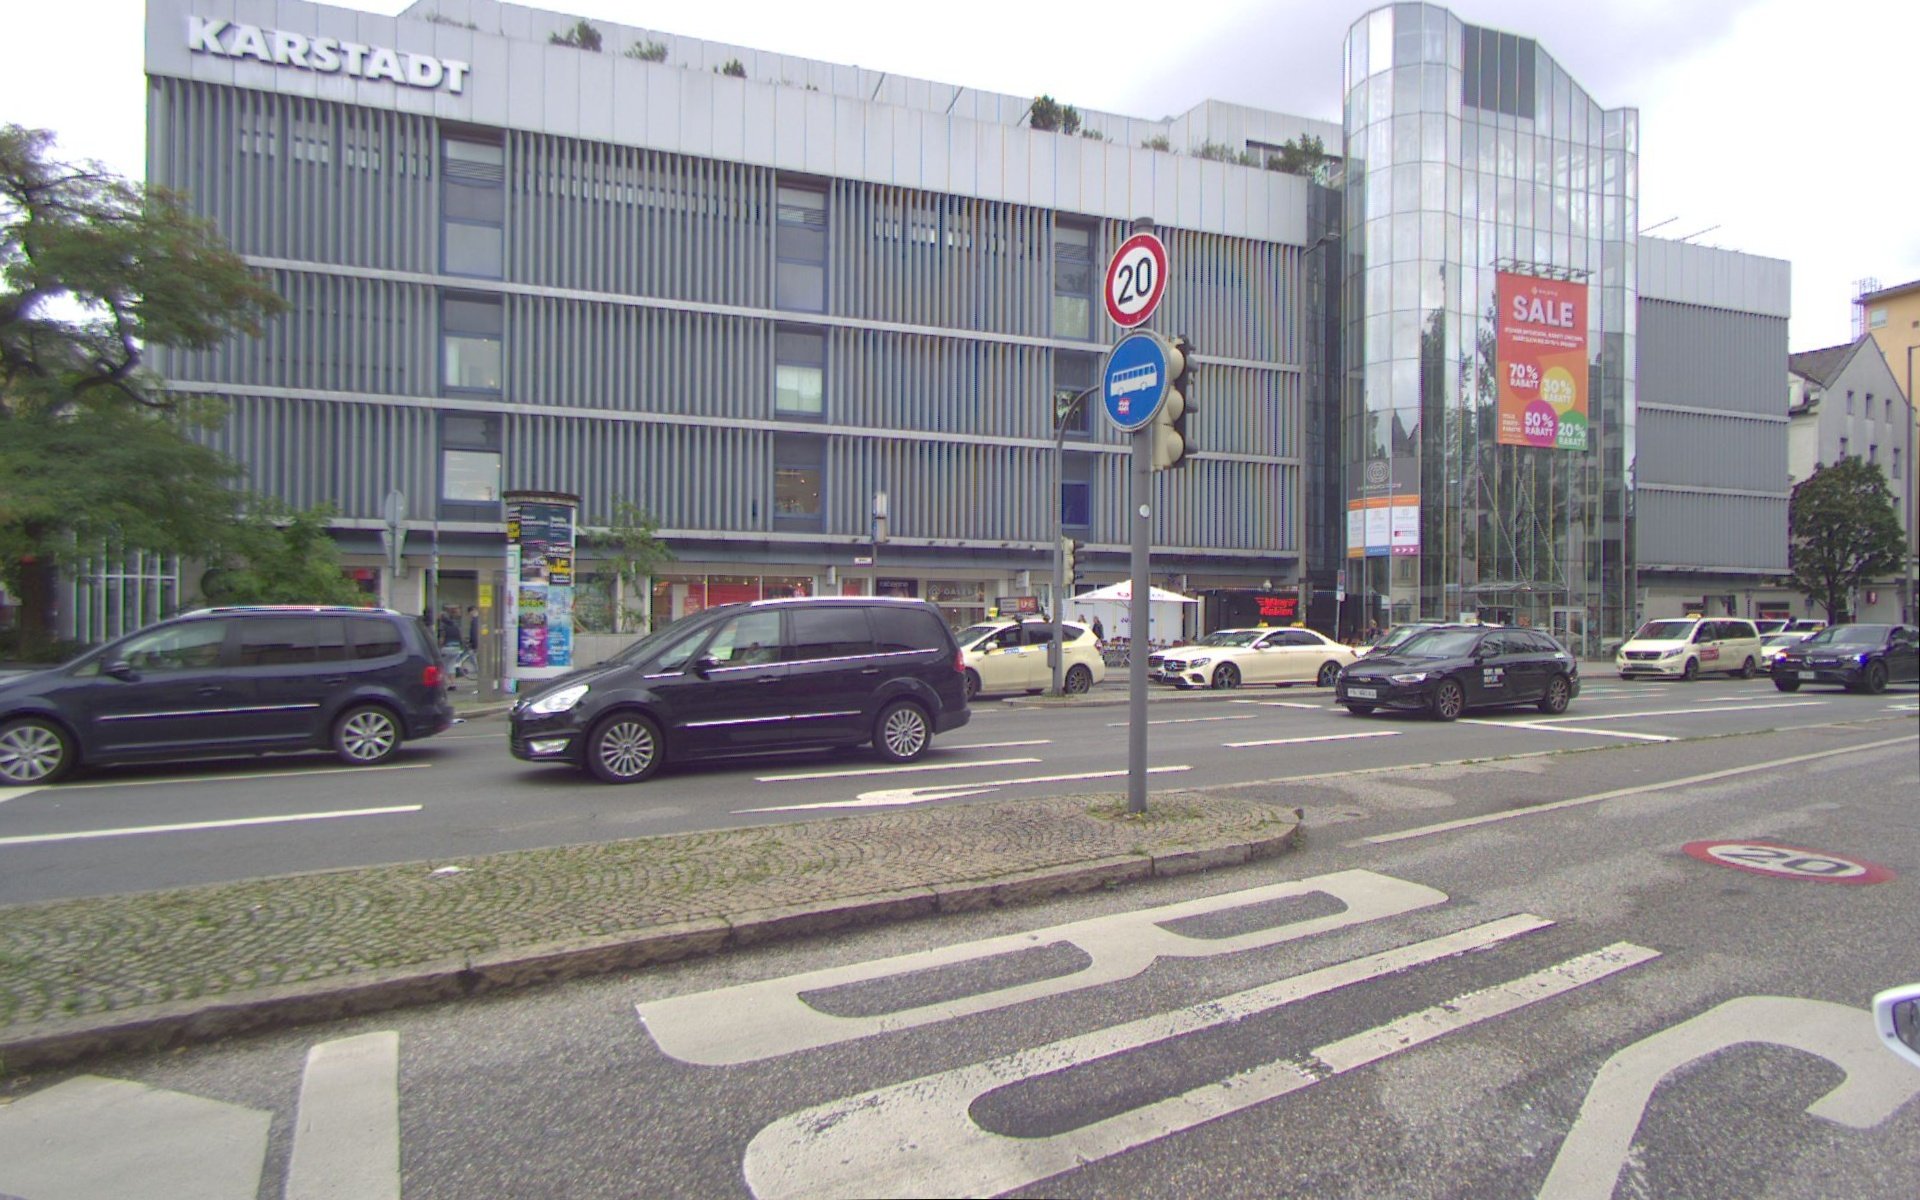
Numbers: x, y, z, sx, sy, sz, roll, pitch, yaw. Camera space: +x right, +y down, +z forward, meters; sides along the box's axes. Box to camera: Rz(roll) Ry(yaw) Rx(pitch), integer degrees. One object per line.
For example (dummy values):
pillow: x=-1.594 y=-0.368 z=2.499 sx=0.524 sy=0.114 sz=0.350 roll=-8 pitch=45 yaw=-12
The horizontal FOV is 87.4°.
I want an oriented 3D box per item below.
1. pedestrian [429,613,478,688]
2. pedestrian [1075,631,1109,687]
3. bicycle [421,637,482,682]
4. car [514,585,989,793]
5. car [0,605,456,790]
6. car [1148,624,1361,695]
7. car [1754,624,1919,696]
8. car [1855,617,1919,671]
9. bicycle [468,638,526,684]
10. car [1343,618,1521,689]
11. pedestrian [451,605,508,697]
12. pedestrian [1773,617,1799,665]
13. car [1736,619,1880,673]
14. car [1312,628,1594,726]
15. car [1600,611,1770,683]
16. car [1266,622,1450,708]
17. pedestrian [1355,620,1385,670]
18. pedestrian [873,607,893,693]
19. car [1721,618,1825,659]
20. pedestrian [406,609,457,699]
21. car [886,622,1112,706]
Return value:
pedestrian: x=-10.923 y=1.082 z=21.656 sx=0.762 sy=1.575 sz=0.747 roll=-1 pitch=-1 yaw=44
pedestrian: x=3.290 y=1.463 z=25.098 sx=0.654 sy=1.371 sz=0.545 roll=1 pitch=-1 yaw=-25
bicycle: x=-13.954 y=1.594 z=27.656 sx=0.774 sy=1.114 sz=3.431 roll=0 pitch=-1 yaw=-14
car: x=-2.116 y=0.820 z=10.538 sx=4.534 sy=1.761 sz=1.928 roll=1 pitch=-2 yaw=-30
car: x=-7.648 y=0.900 z=10.461 sx=4.207 sy=1.635 sz=1.830 roll=1 pitch=-1 yaw=-30
car: x=6.892 y=1.338 z=23.565 sx=4.566 sy=1.528 sz=1.990 roll=1 pitch=-1 yaw=-22
car: x=21.023 y=1.340 z=23.487 sx=4.523 sy=1.554 sz=1.989 roll=1 pitch=-1 yaw=-24
car: x=34.762 y=1.547 z=36.044 sx=4.462 sy=1.840 sz=1.992 roll=0 pitch=-2 yaw=-19
bicycle: x=-12.690 y=1.637 z=27.632 sx=0.791 sy=1.114 sz=3.672 roll=0 pitch=-1 yaw=-14
car: x=12.198 y=1.337 z=25.985 sx=4.124 sy=1.701 sz=1.989 roll=1 pitch=-1 yaw=-24
pedestrian: x=-9.702 y=1.014 z=20.289 sx=0.739 sy=1.796 sz=0.770 roll=-1 pitch=-1 yaw=36
pedestrian: x=32.045 y=1.585 z=38.976 sx=0.618 sy=1.842 sz=0.557 roll=0 pitch=-1 yaw=-19
car: x=28.900 y=1.540 z=34.230 sx=4.469 sy=1.677 sz=1.989 roll=1 pitch=0 yaw=-24
car: x=8.124 y=1.171 z=16.494 sx=4.542 sy=1.401 sz=1.838 roll=1 pitch=-1 yaw=-28
car: x=22.319 y=1.399 z=30.880 sx=5.451 sy=2.040 sz=1.987 roll=1 pitch=-1 yaw=-27
car: x=7.932 y=1.234 z=20.007 sx=3.340 sy=1.572 sz=1.619 roll=1 pitch=-1 yaw=-27
pedestrian: x=14.348 y=1.574 z=35.154 sx=0.700 sy=1.714 sz=0.651 roll=0 pitch=-1 yaw=-18
pedestrian: x=-1.609 y=1.040 z=21.126 sx=0.348 sy=1.783 sz=0.447 roll=0 pitch=-1 yaw=5
car: x=36.868 y=1.730 z=45.552 sx=4.180 sy=1.795 sz=1.866 roll=1 pitch=-1 yaw=-22
pedestrian: x=-10.132 y=1.015 z=19.280 sx=0.740 sy=1.676 sz=0.769 roll=0 pitch=-1 yaw=-20
car: x=0.831 y=1.235 z=20.644 sx=4.341 sy=1.563 sz=1.892 roll=1 pitch=-1 yaw=-30
